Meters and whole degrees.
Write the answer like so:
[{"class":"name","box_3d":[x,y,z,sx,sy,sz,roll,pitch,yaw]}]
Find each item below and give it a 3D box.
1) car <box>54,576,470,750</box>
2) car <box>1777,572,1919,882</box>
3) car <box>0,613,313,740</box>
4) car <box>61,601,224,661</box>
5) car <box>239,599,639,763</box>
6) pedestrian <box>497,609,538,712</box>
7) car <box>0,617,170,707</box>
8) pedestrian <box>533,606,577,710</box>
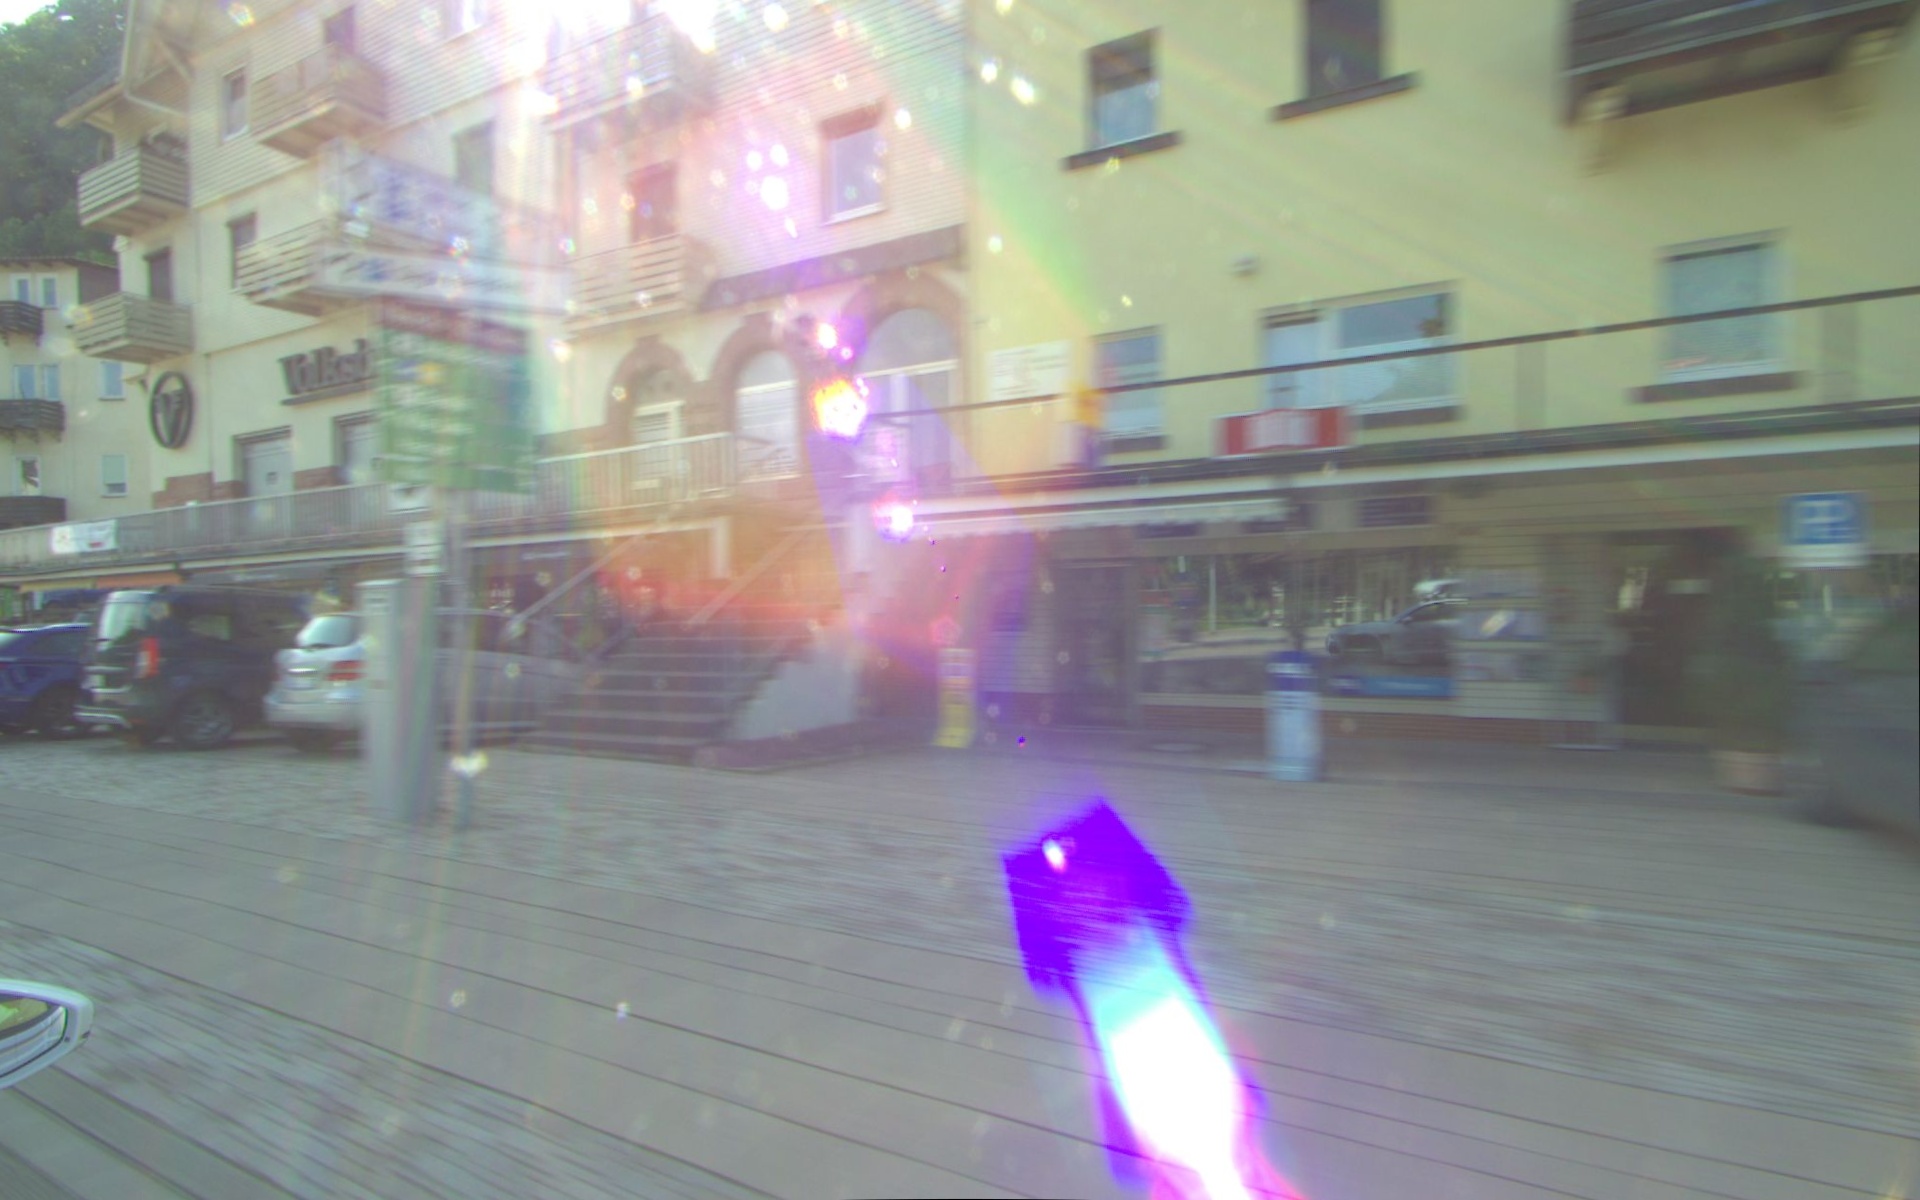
[{"class":"car","box_3d":[-8.589,0.786,12.694,1.830,1.826,3.907,-1,-3,30]},{"class":"car","box_3d":[5.953,0.661,5.294,1.733,1.574,3.859,-1,-2,27]},{"class":"car","box_3d":[-11.234,0.984,13.450,1.710,1.479,3.907,0,-3,30]},{"class":"car","box_3d":[-24.066,0.865,29.683,1.738,1.631,3.921,1,1,-3]},{"class":"car","box_3d":[-5.964,0.877,11.947,1.748,1.609,3.907,0,-2,30]},{"class":"pedestrian","box_3d":[-7.384,1.003,16.710,0.429,1.681,0.410,0,3,37]},{"class":"car","box_3d":[-16.495,1.065,17.151,1.748,1.479,4.349,-2,-2,32]},{"class":"pedestrian","box_3d":[-6.686,0.956,16.537,0.426,1.681,0.457,-1,2,12]}]
